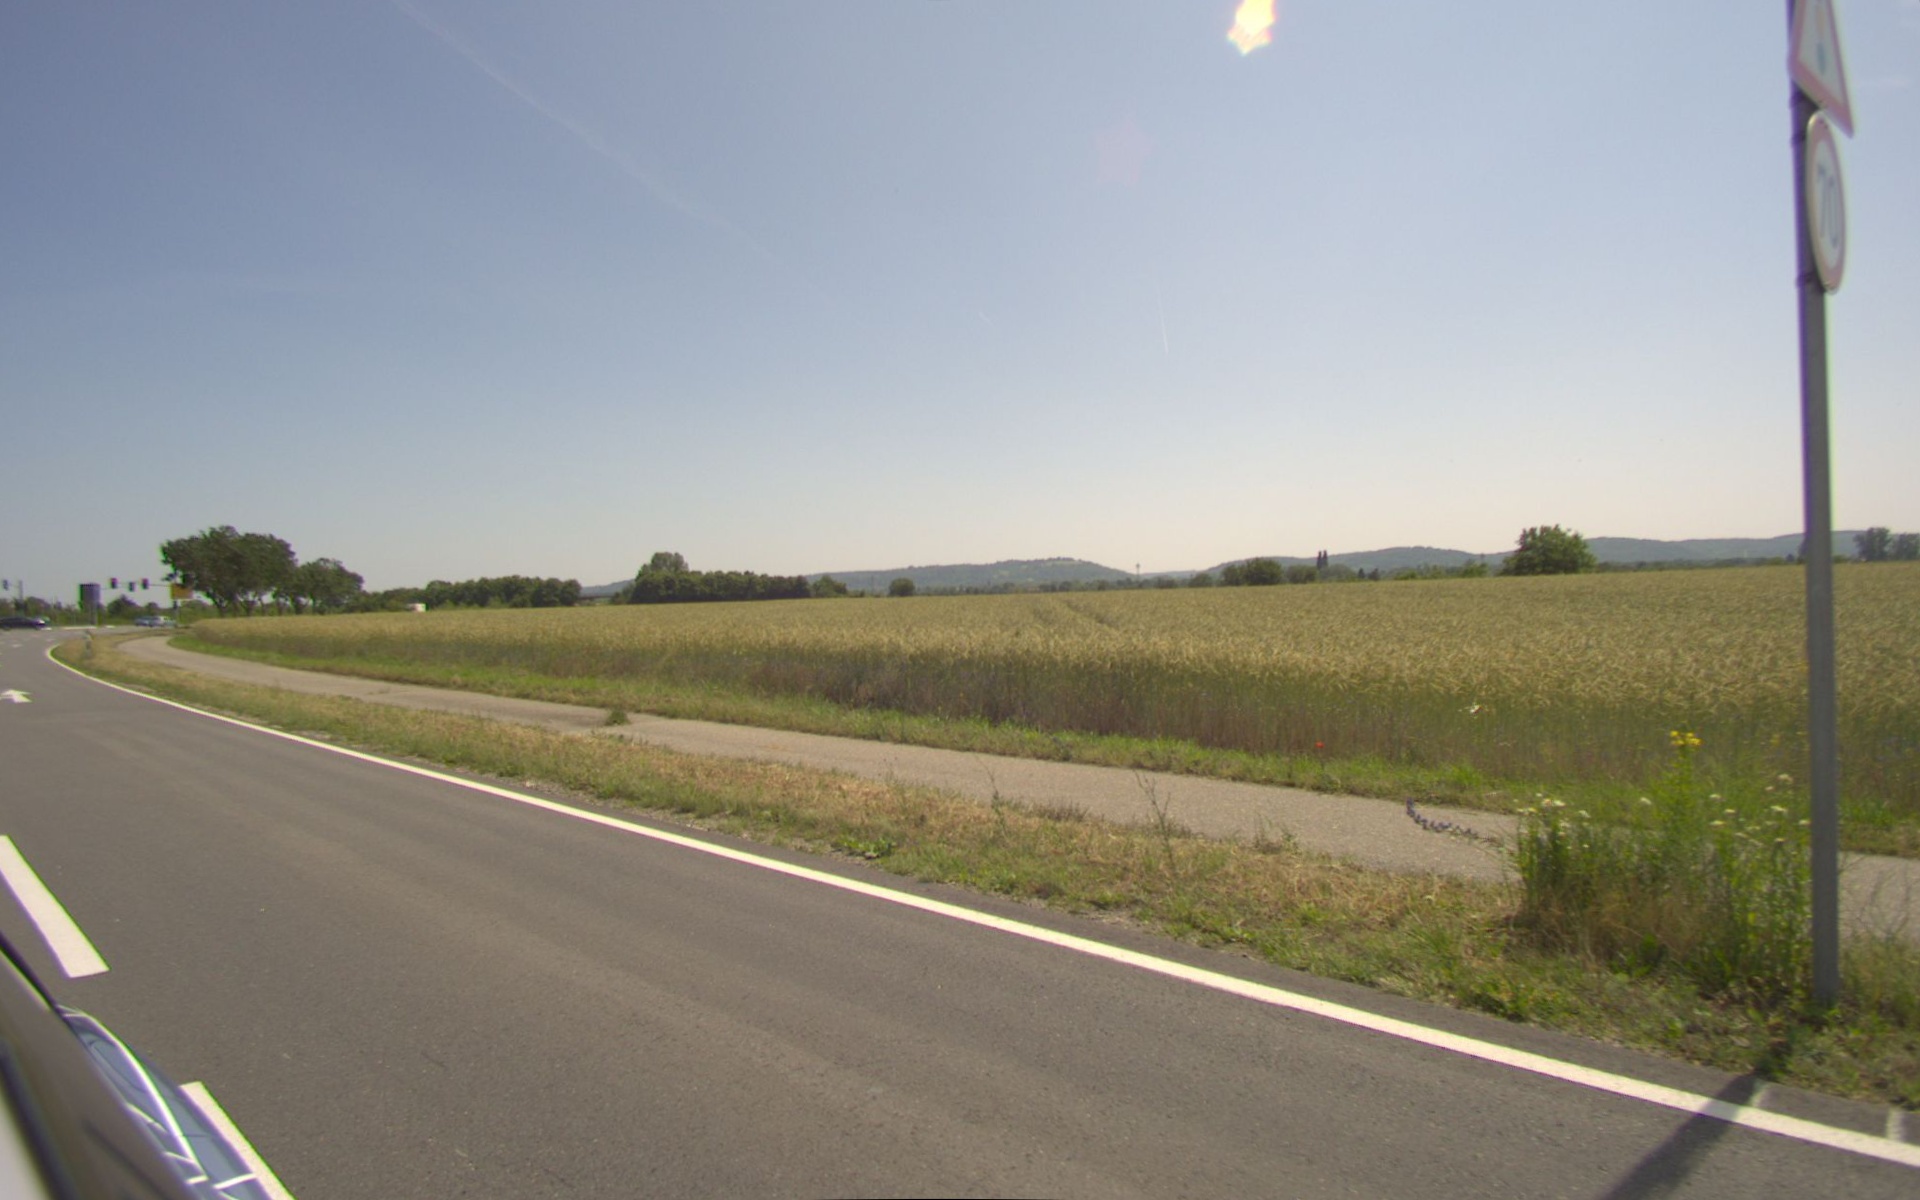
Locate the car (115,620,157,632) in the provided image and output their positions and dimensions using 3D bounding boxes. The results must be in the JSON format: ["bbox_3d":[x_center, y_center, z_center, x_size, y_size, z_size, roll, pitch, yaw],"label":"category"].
[{"bbox_3d":[-110.256,3.473,135.445,1.645,1.471,4.132,-1,0,15],"label":"car"}]

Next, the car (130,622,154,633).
[{"bbox_3d":[-120.393,4.026,148.997,1.629,1.578,4.013,-1,-1,-21],"label":"car"}]

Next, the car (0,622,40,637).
[{"bbox_3d":[-114.489,3.589,122.570,4.456,1.653,1.817,-1,1,-41],"label":"car"}]
